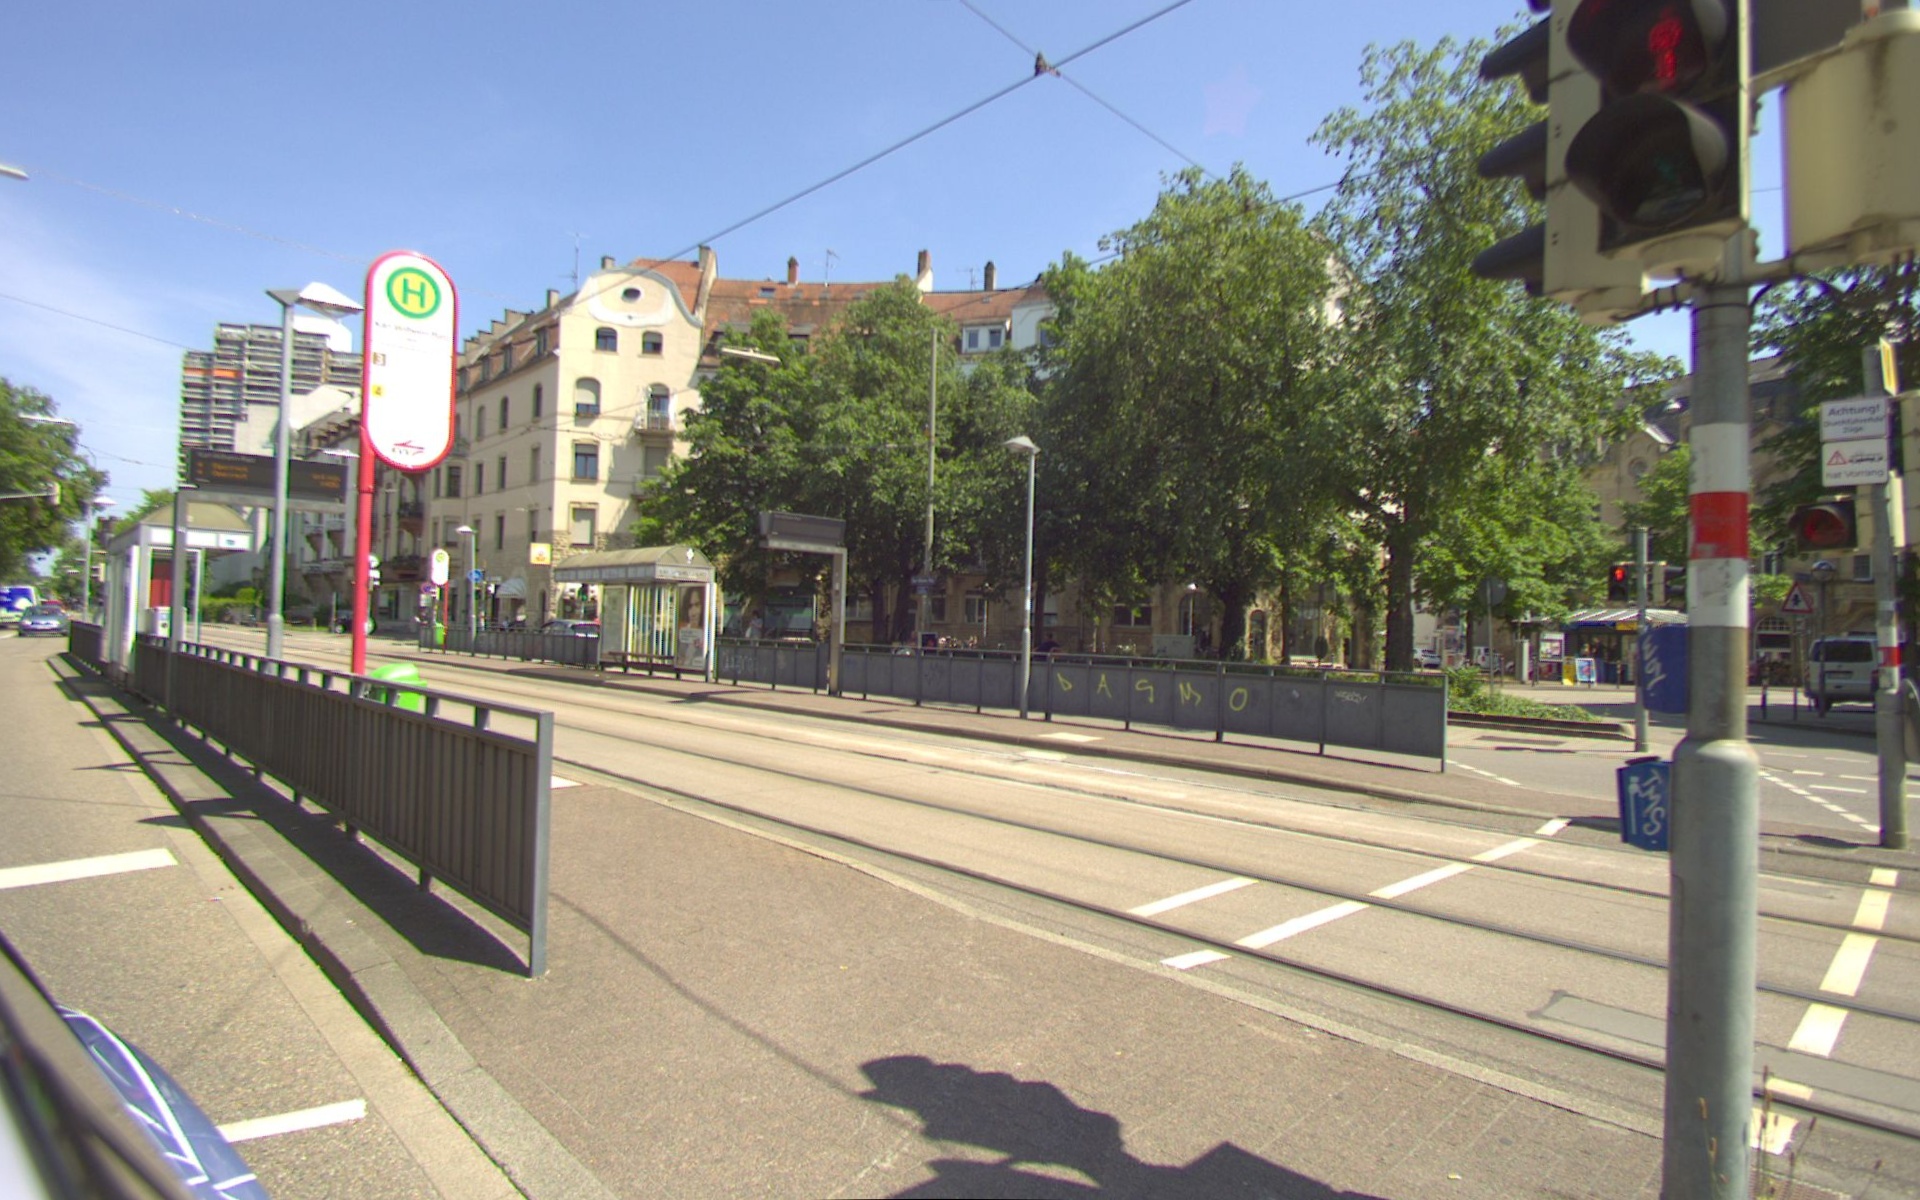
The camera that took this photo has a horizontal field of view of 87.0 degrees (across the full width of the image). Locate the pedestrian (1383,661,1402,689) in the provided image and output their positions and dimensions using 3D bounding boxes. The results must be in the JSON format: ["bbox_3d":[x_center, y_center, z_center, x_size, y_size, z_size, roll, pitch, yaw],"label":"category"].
[{"bbox_3d":[21.463,3.711,50.228,0.691,1.360,0.605,4,-3,-33],"label":"pedestrian"}]

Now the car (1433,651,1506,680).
[{"bbox_3d":[33.061,4.253,65.793,1.779,1.711,4.013,3,-3,-25],"label":"car"}]

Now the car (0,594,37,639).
[{"bbox_3d":[-56.338,0.949,59.795,5.269,2.511,2.206,1,-3,44],"label":"car"}]

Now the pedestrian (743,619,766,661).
[{"bbox_3d":[-7.176,1.388,35.365,0.520,1.452,0.530,0,-3,36],"label":"pedestrian"}]

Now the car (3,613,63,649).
[{"bbox_3d":[-42.702,1.428,46.576,4.425,1.564,1.713,-1,-4,44],"label":"car"}]

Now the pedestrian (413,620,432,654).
[{"bbox_3d":[-27.702,1.887,52.153,0.796,1.733,0.765,3,-3,-29],"label":"pedestrian"}]

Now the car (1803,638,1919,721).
[{"bbox_3d":[25.244,2.138,27.354,4.509,2.082,2.006,3,-3,-25],"label":"car"}]

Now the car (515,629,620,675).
[{"bbox_3d":[-12.486,1.630,32.105,1.673,1.320,3.851,4,-3,-44],"label":"car"}]

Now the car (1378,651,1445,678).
[{"bbox_3d":[31.142,4.419,69.939,1.779,1.711,4.013,3,-3,-25],"label":"car"}]

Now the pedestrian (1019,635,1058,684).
[{"bbox_3d":[2.163,1.627,27.705,0.810,1.327,0.653,3,-3,-38],"label":"pedestrian"}]

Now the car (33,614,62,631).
[{"bbox_3d":[-89.336,2.158,99.090,4.425,1.564,1.713,-1,-4,44],"label":"car"}]

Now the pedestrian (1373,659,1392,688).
[{"bbox_3d":[20.516,3.563,49.190,0.702,1.360,0.595,-1,-4,39],"label":"pedestrian"}]

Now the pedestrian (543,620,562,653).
[{"bbox_3d":[-18.479,1.663,45.880,0.520,1.452,0.530,0,-3,37],"label":"pedestrian"}]
